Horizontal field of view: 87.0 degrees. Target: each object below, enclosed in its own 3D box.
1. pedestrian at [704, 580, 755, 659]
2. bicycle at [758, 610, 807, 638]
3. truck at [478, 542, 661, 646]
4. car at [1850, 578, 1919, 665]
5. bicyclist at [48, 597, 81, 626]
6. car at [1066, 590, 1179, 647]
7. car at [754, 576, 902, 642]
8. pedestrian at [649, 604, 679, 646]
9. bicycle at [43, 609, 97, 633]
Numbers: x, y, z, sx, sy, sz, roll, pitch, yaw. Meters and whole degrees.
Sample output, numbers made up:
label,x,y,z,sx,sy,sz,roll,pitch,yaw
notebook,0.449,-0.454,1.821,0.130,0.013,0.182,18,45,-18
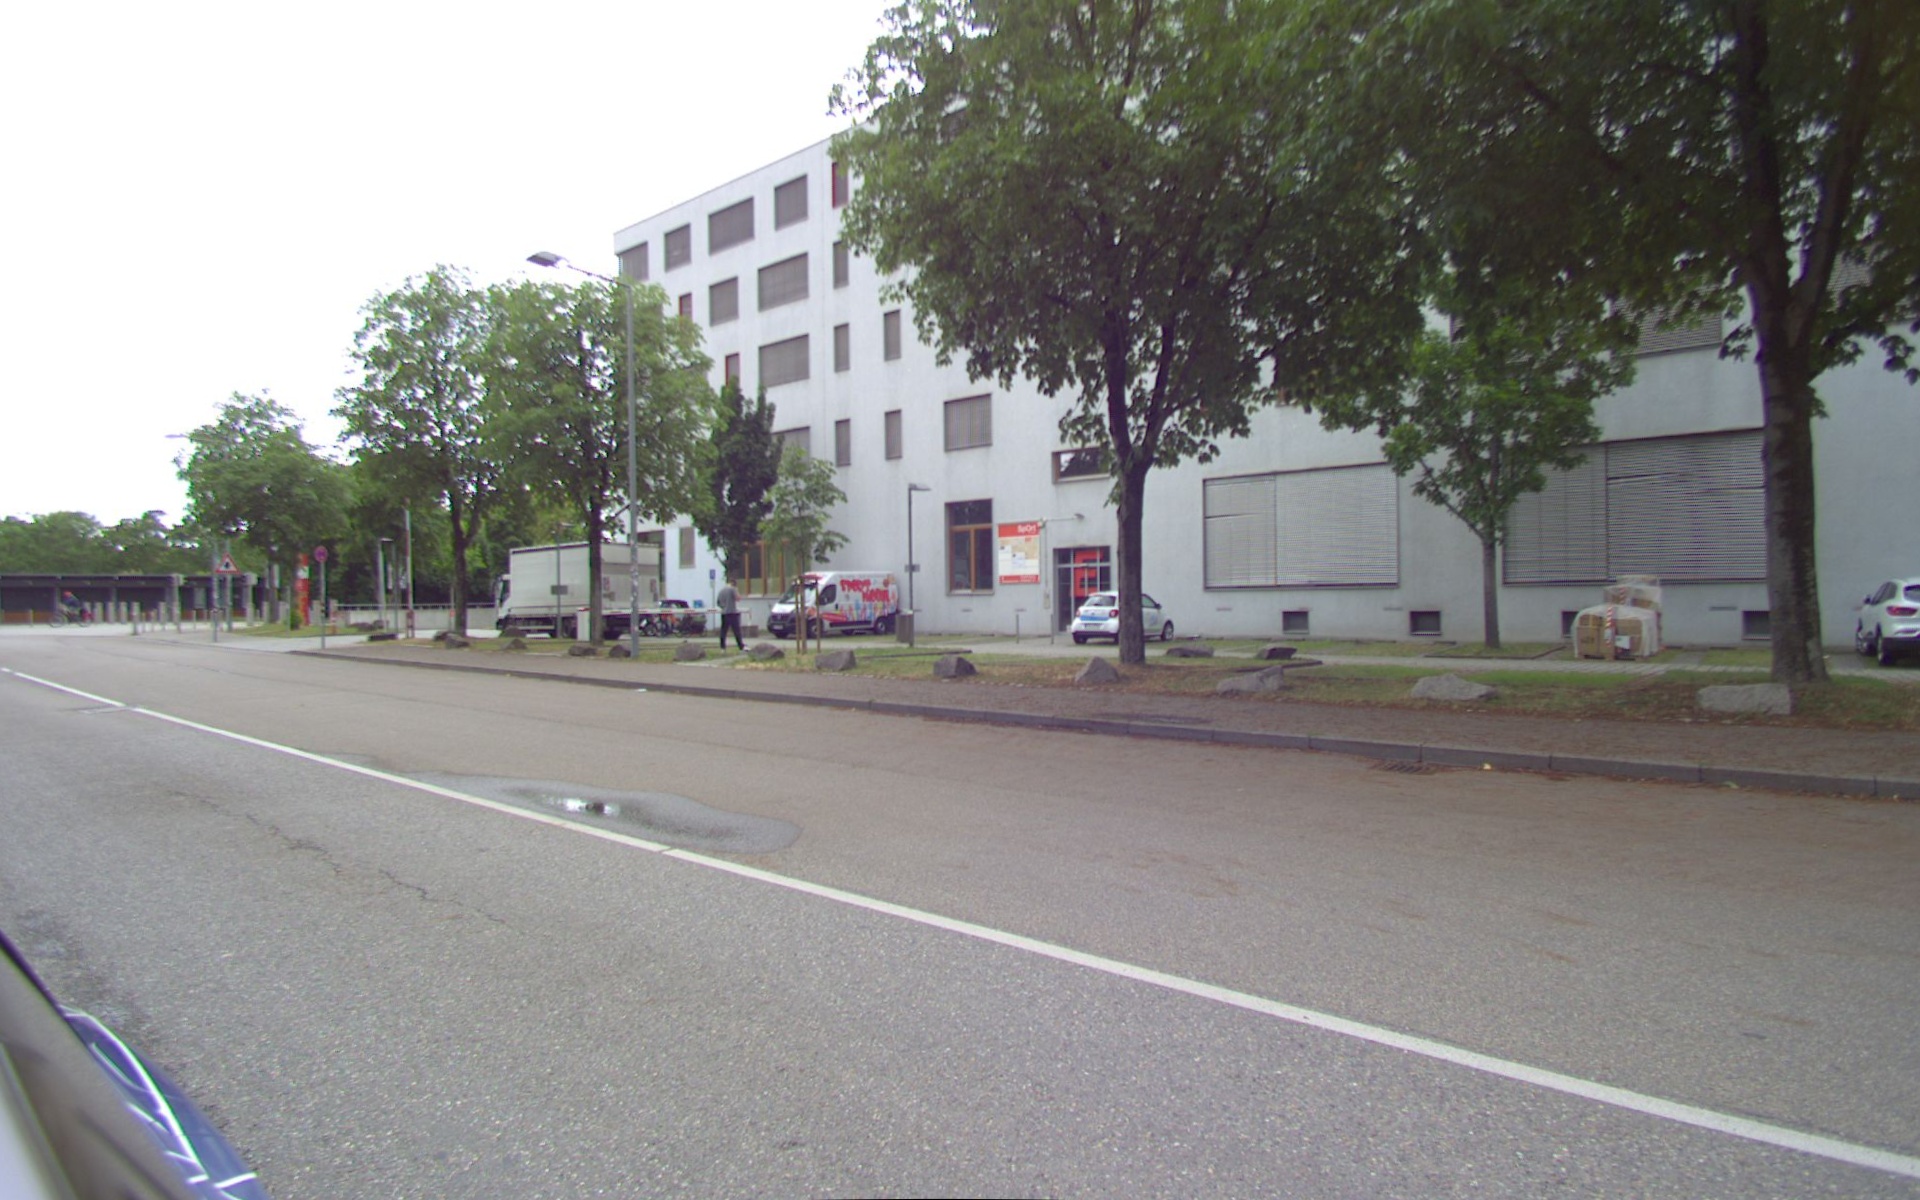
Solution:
label,x,y,z,sx,sy,sz,roll,pitch,yaw
pedestrian,-5.028,0.412,22.124,0.780,1.684,0.841,0,1,17
bicycle,-7.260,0.969,41.434,0.614,1.078,2.002,0,2,44
truck,-15.103,-0.256,38.798,8.354,3.627,2.651,0,1,38
car,17.928,0.331,18.652,1.896,1.467,3.963,0,1,36
bicyclist,-47.116,0.590,53.250,0.926,1.507,1.088,1,2,36
car,4.827,0.499,29.822,1.691,1.511,3.576,0,1,40
car,-4.859,0.240,38.081,2.078,2.296,5.569,0,1,40
pedestrian,-11.527,0.960,39.398,0.885,1.618,0.672,0,1,34
bicycle,-46.970,1.083,53.441,0.776,1.152,2.026,1,2,37
